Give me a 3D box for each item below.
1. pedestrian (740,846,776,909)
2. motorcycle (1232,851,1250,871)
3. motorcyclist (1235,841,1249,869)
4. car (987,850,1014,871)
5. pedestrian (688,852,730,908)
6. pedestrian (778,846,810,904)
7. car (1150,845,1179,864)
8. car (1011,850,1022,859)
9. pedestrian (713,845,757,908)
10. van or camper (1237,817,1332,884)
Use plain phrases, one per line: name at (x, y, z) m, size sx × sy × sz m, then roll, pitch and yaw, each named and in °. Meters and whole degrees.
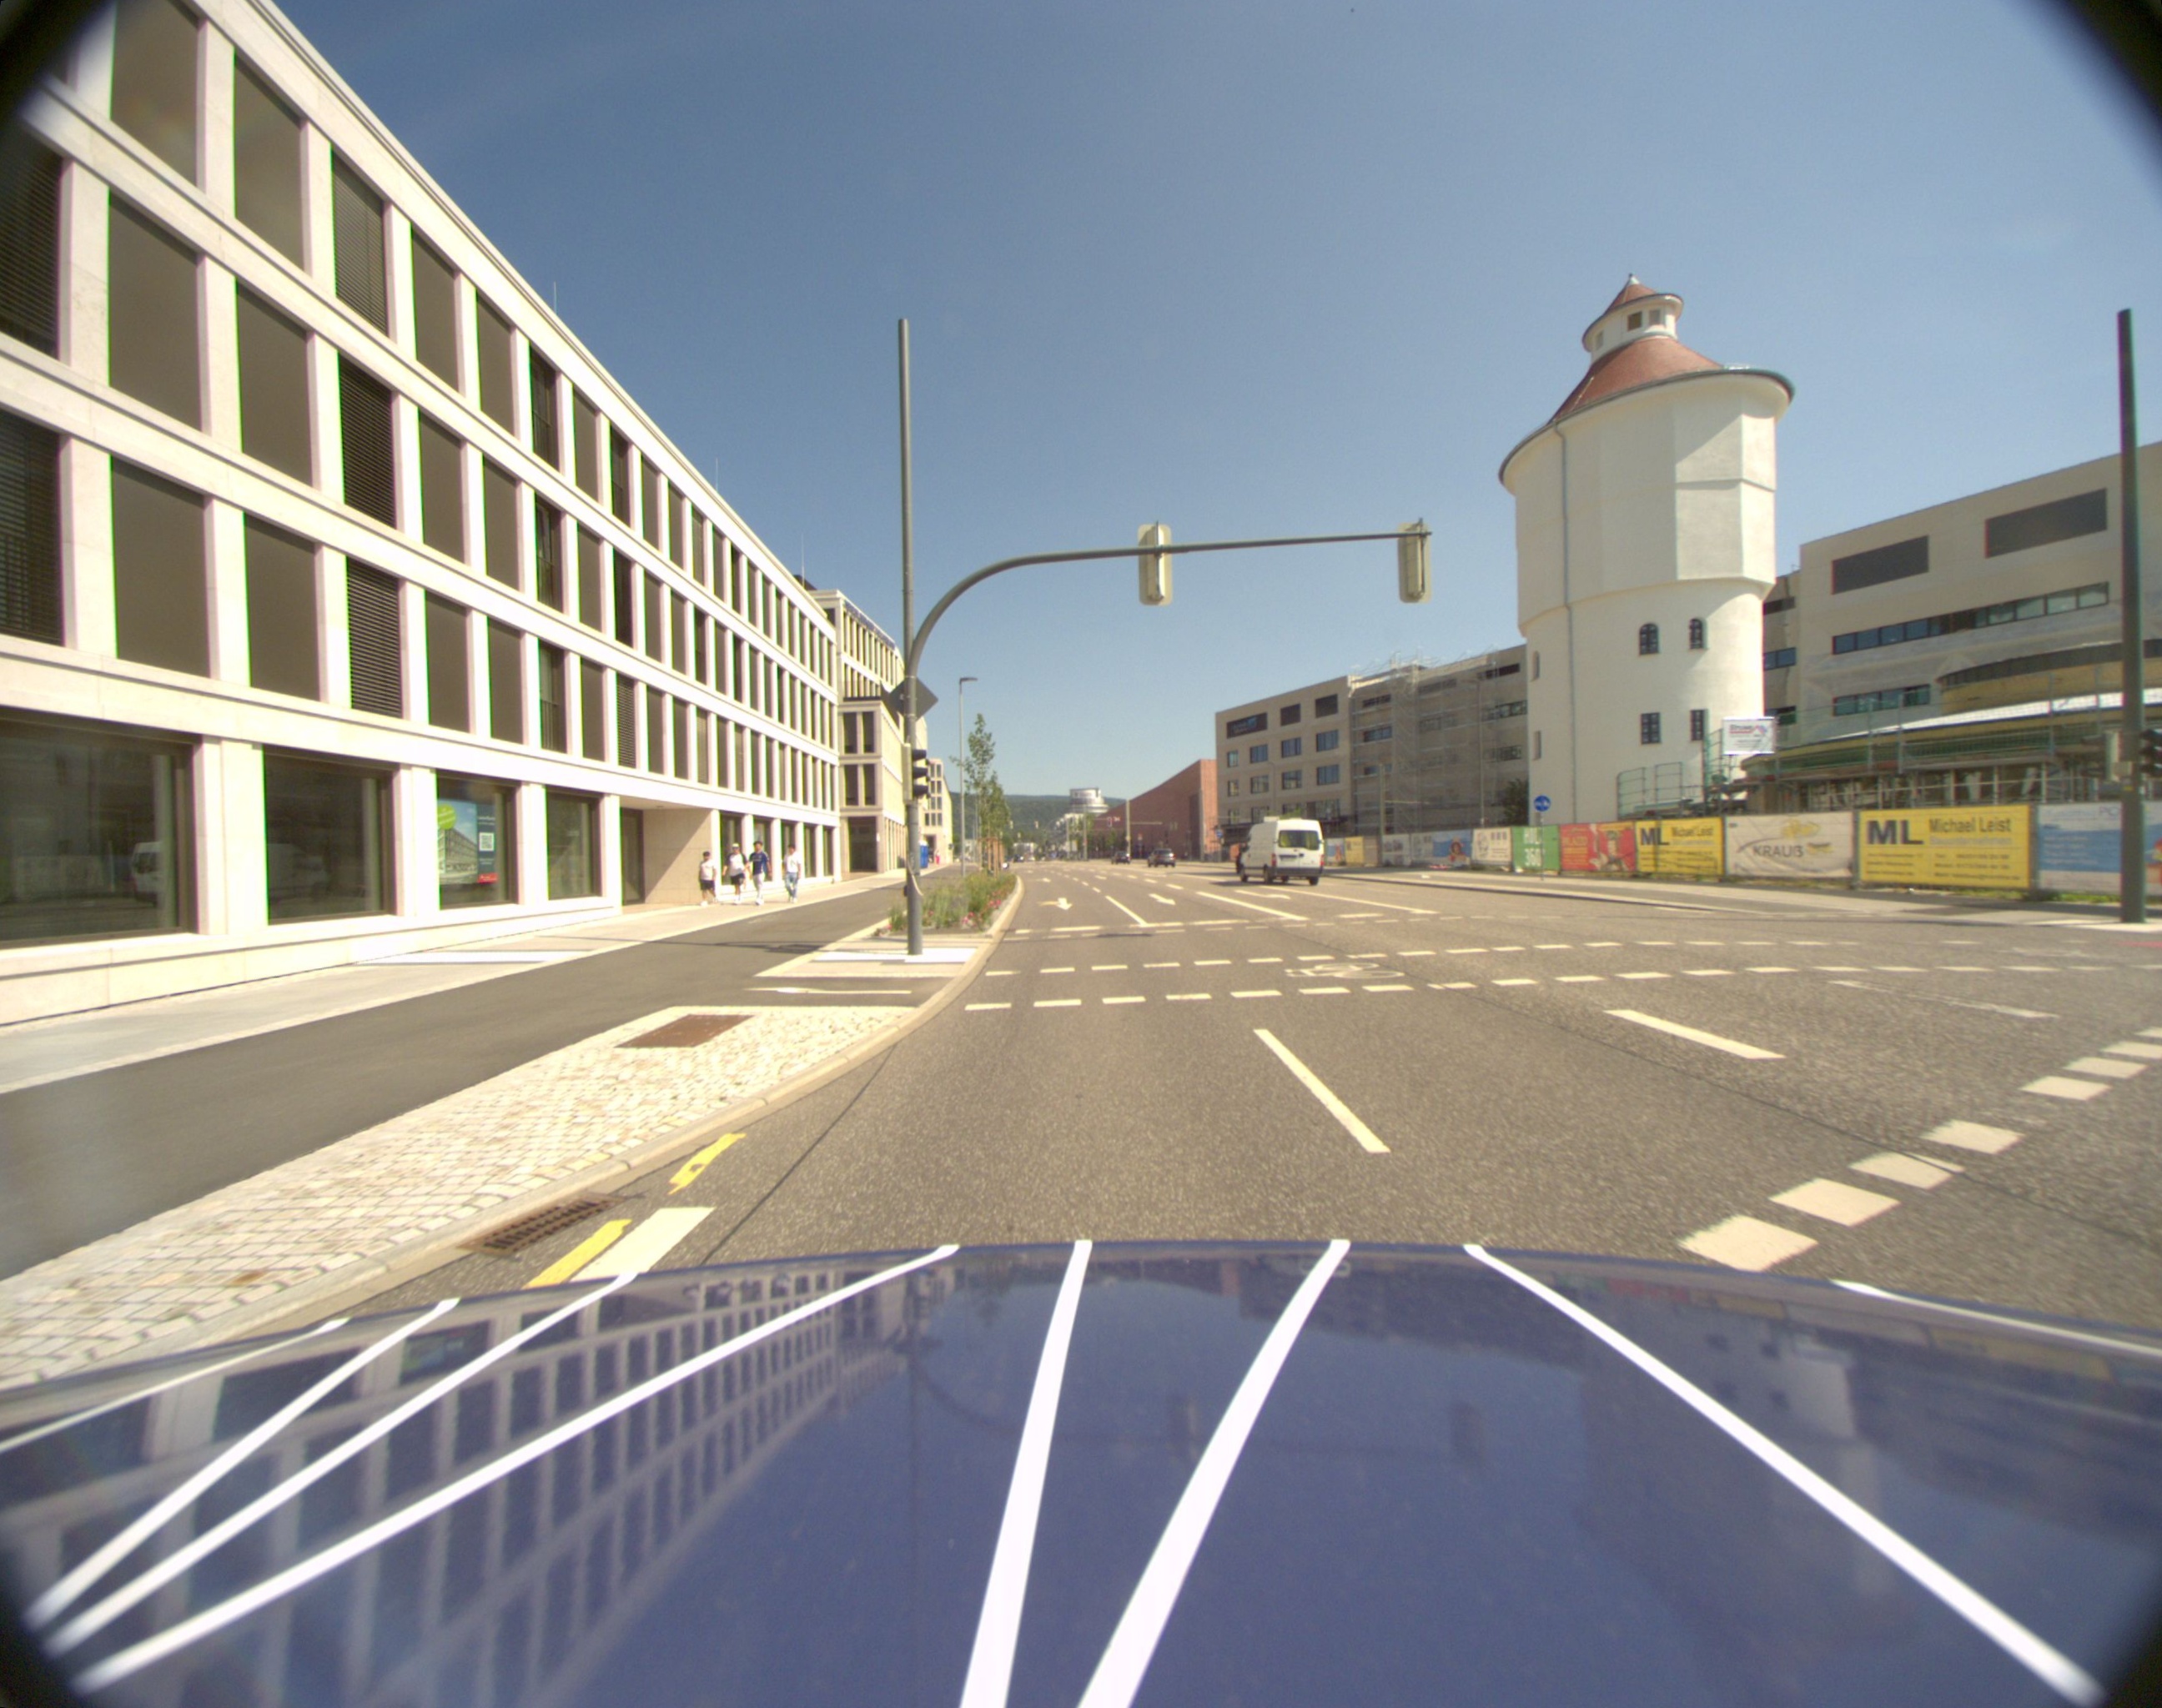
pedestrian at (-9.211, 0.644, 21.693) m, size 0.578 × 1.730 × 0.996 m, roll -1°, pitch 2°, yaw -3°
motorcycle at (9.510, 0.398, 45.214) m, size 0.585 × 1.098 × 2.214 m, roll 0°, pitch 2°, yaw -1°
motorcyclist at (9.524, 0.051, 44.963) m, size 0.620 × 1.650 × 0.927 m, roll -1°, pitch 2°, yaw -1°
car at (-6.250, 0.456, 59.283) m, size 1.811 × 1.499 × 3.998 m, roll -2°, pitch 1°, yaw -3°
pedestrian at (-10.698, 0.736, 21.864) m, size 0.770 × 1.557 × 0.842 m, roll -1°, pitch 2°, yaw -3°
pedestrian at (-8.742, 0.622, 23.149) m, size 0.578 × 1.710 × 0.996 m, roll -1°, pitch 2°, yaw -3°
car at (7.433, 0.049, 67.710) m, size 1.802 × 1.581 × 3.969 m, roll -2°, pitch 1°, yaw -5°
car at (-10.933, 0.087, 128.268) m, size 1.784 × 1.552 × 3.829 m, roll -2°, pitch 1°, yaw -5°
pedestrian at (-9.989, 0.636, 21.975) m, size 0.826 × 1.774 × 0.926 m, roll -1°, pitch 2°, yaw -3°
van or camper at (8.003, -0.158, 30.533) m, size 2.158 × 2.400 × 5.680 m, roll 1°, pitch 1°, yaw -1°
